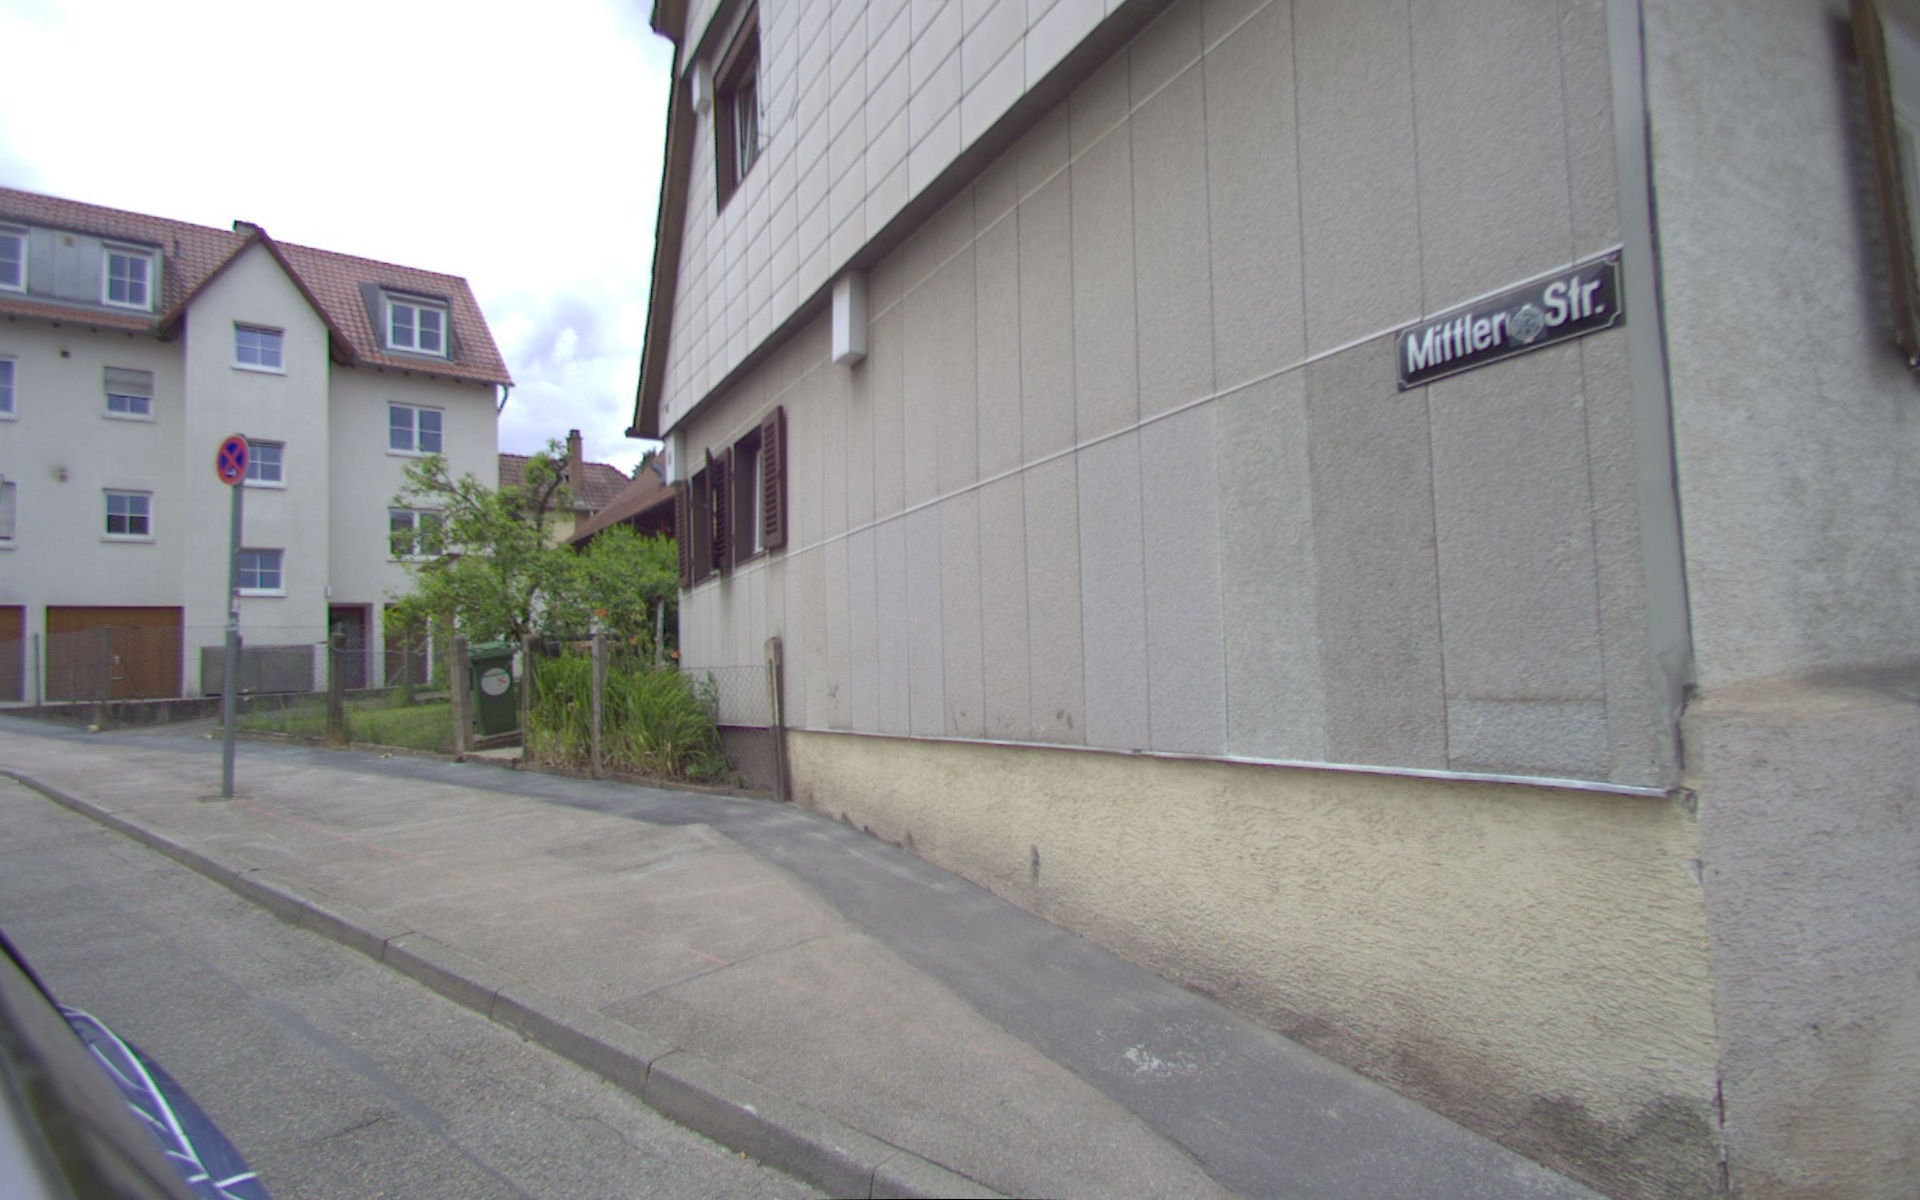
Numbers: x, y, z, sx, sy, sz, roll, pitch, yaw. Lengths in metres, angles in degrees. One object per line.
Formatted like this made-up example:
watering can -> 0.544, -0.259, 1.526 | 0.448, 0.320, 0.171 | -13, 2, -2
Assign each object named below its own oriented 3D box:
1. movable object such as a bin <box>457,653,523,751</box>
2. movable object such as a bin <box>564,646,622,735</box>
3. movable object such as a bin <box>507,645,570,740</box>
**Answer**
movable object such as a bin -> -4.734, 1.012, 10.195 | 0.519, 0.890, 0.491 | -2, 2, -32
movable object such as a bin -> -3.984, 0.967, 10.976 | 0.487, 0.884, 0.454 | -2, 2, -32
movable object such as a bin -> -4.469, 0.965, 10.730 | 0.519, 0.924, 0.491 | -2, 2, -32
